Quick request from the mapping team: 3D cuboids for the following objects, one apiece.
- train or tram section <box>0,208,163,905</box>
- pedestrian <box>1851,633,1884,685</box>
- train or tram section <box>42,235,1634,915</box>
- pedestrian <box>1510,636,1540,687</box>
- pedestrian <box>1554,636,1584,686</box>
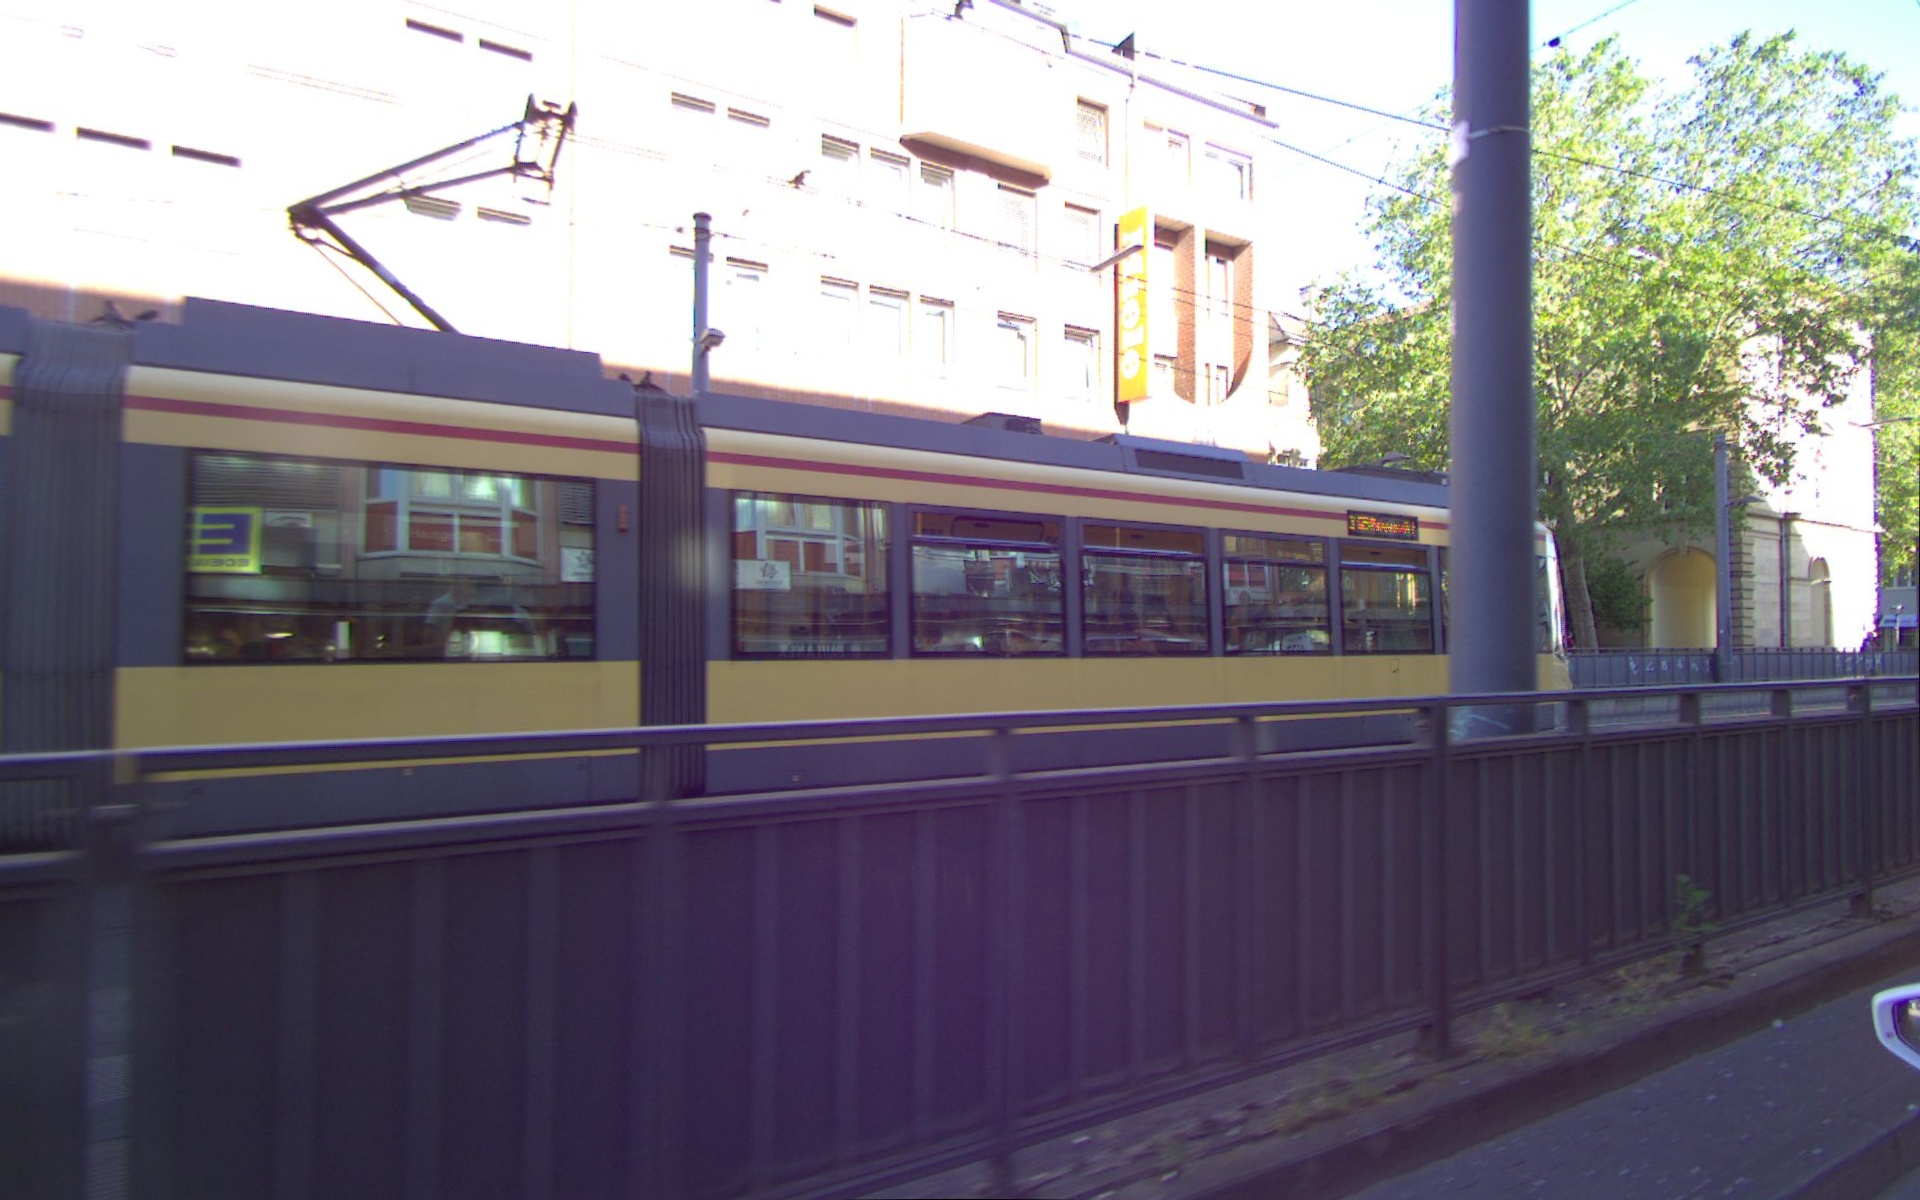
[{"bbox_3d":[-11.625,-0.374,3.239,13.778,3.693,2.960,1,-1,-30],"label":"train or tram section"},{"bbox_3d":[36.163,2.326,40.039,0.675,2.040,0.703,0,-1,1],"label":"pedestrian"},{"bbox_3d":[1.363,-0.042,10.830,16.288,3.693,2.960,1,0,-30],"label":"train or tram section"},{"bbox_3d":[20.603,2.250,36.636,0.640,1.829,0.684,1,-2,-26],"label":"pedestrian"},{"bbox_3d":[21.881,2.189,36.081,0.607,1.735,0.675,-1,0,-31],"label":"pedestrian"}]
